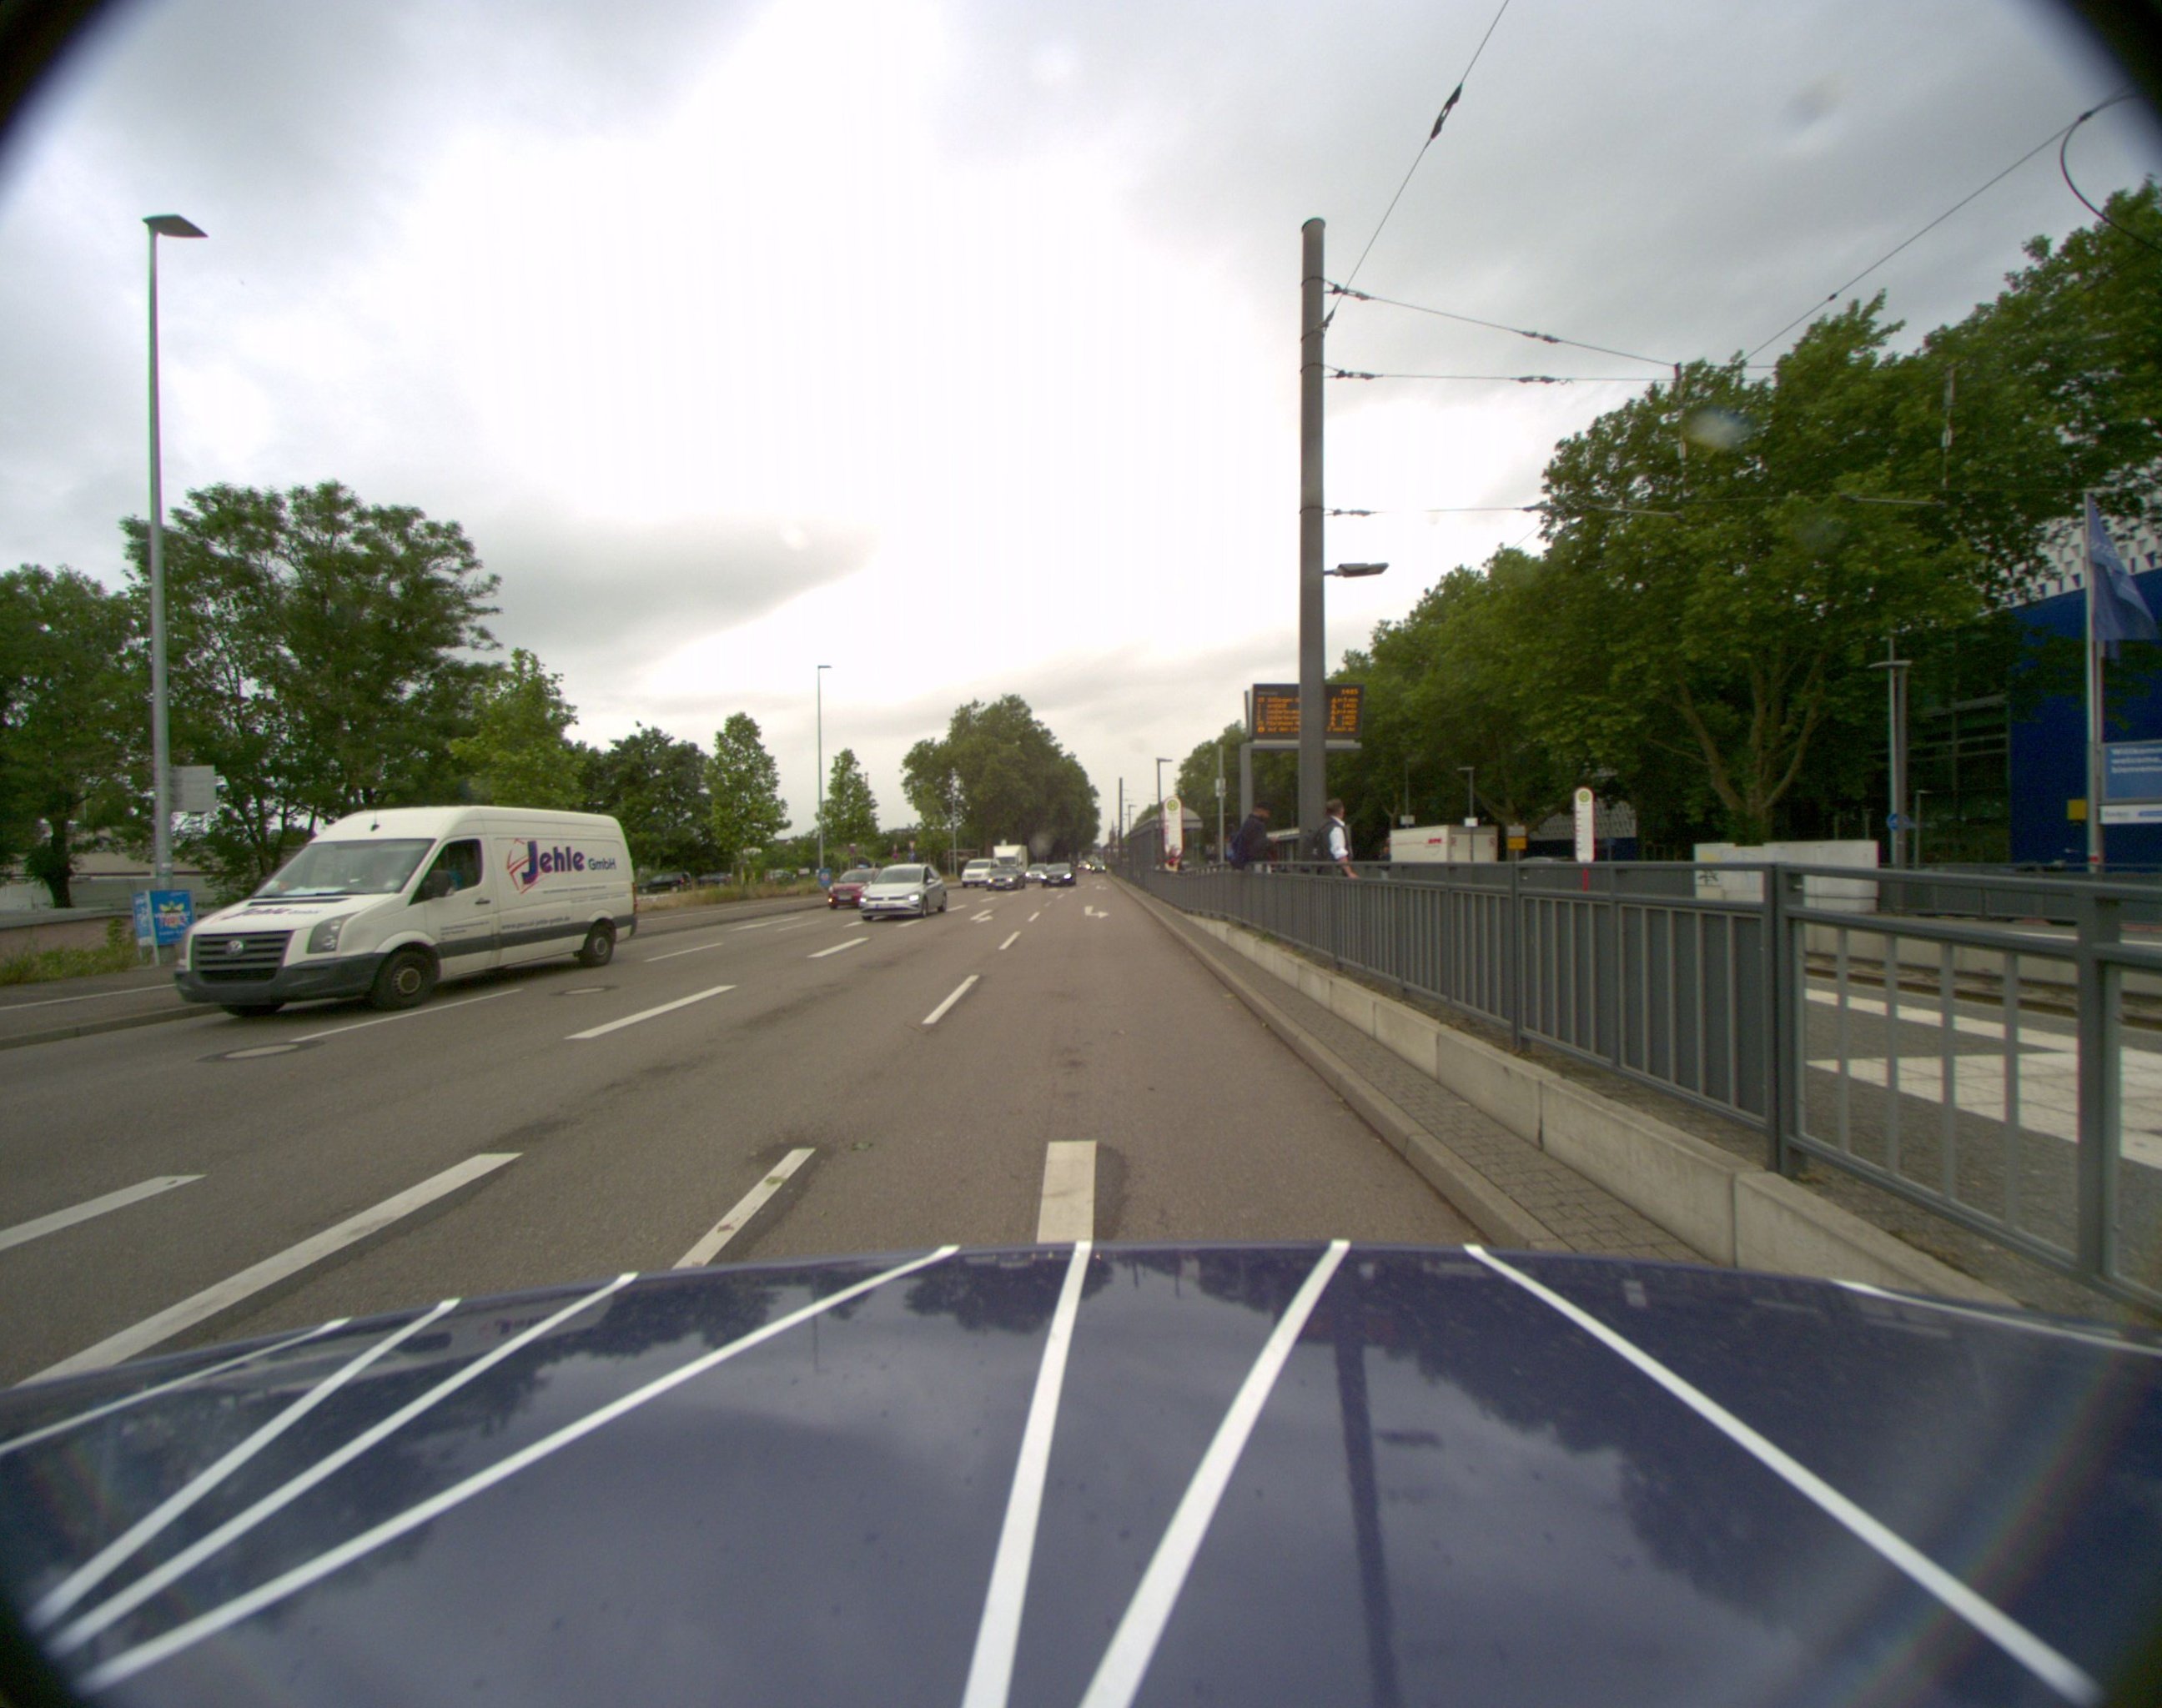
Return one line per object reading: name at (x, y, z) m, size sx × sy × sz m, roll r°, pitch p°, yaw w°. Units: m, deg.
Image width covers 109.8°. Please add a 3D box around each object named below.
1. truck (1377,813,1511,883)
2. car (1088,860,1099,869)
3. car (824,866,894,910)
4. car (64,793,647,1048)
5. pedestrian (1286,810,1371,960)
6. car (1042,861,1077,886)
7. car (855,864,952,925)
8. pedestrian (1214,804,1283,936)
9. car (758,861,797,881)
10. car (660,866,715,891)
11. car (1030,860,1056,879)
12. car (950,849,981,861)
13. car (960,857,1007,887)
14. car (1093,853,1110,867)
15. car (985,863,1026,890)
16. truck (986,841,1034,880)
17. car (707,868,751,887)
truck at (21.173, -0.307, 45.244) m, size 3.259 × 3.642 × 9.897 m, roll 1°, pitch 0°, yaw 1°
car at (2.340, 1.927, 139.967) m, size 1.712 × 1.664 × 3.715 m, roll 0°, pitch 0°, yaw 4°
car at (-8.644, 1.279, 29.908) m, size 1.655 × 1.552 × 3.771 m, roll -2°, pitch 0°, yaw -1°
car at (-9.363, 0.718, 10.995) m, size 2.663 × 2.610 × 5.899 m, roll -2°, pitch 0°, yaw 0°
pedestrian at (2.677, 0.322, 8.272) m, size 0.710 × 1.551 × 0.632 m, roll -2°, pitch 1°, yaw 4°
car at (-1.261, 1.140, 46.376) m, size 1.998 × 1.382 × 4.344 m, roll -2°, pitch 0°, yaw 0°
car at (-5.155, 1.133, 22.657) m, size 1.859 × 1.543 × 4.201 m, roll -2°, pitch 0°, yaw 0°
pedestrian at (2.271, 0.212, 10.354) m, size 0.787 × 1.732 × 0.587 m, roll -2°, pitch 1°, yaw 5°
car at (-32.868, 1.838, 82.457) m, size 2.316 × 2.001 × 4.559 m, roll -2°, pitch -1°, yaw 1°
car at (-33.384, 2.028, 64.671) m, size 2.188 × 2.001 × 4.559 m, roll 1°, pitch -1°, yaw 2°
car at (-2.931, 1.180, 58.940) m, size 1.682 × 1.410 × 3.850 m, roll -2°, pitch 0°, yaw 1°
car at (-16.021, 0.139, 105.139) m, size 3.998 × 1.499 × 1.810 m, roll -2°, pitch 1°, yaw -3°
car at (-6.723, 1.190, 52.810) m, size 2.098 × 1.869 × 5.122 m, roll -2°, pitch 0°, yaw 5°
car at (2.711, 0.787, 99.927) m, size 1.960 × 1.674 × 4.001 m, roll -2°, pitch 1°, yaw 6°
car at (-4.292, 1.270, 44.047) m, size 1.875 × 1.382 × 4.344 m, roll -2°, pitch 0°, yaw 0°
truck at (-5.759, 0.517, 62.749) m, size 2.825 × 2.906 × 6.546 m, roll -2°, pitch 0°, yaw 3°
car at (-33.749, 2.226, 72.903) m, size 2.123 × 1.686 × 4.650 m, roll -2°, pitch -1°, yaw -2°
